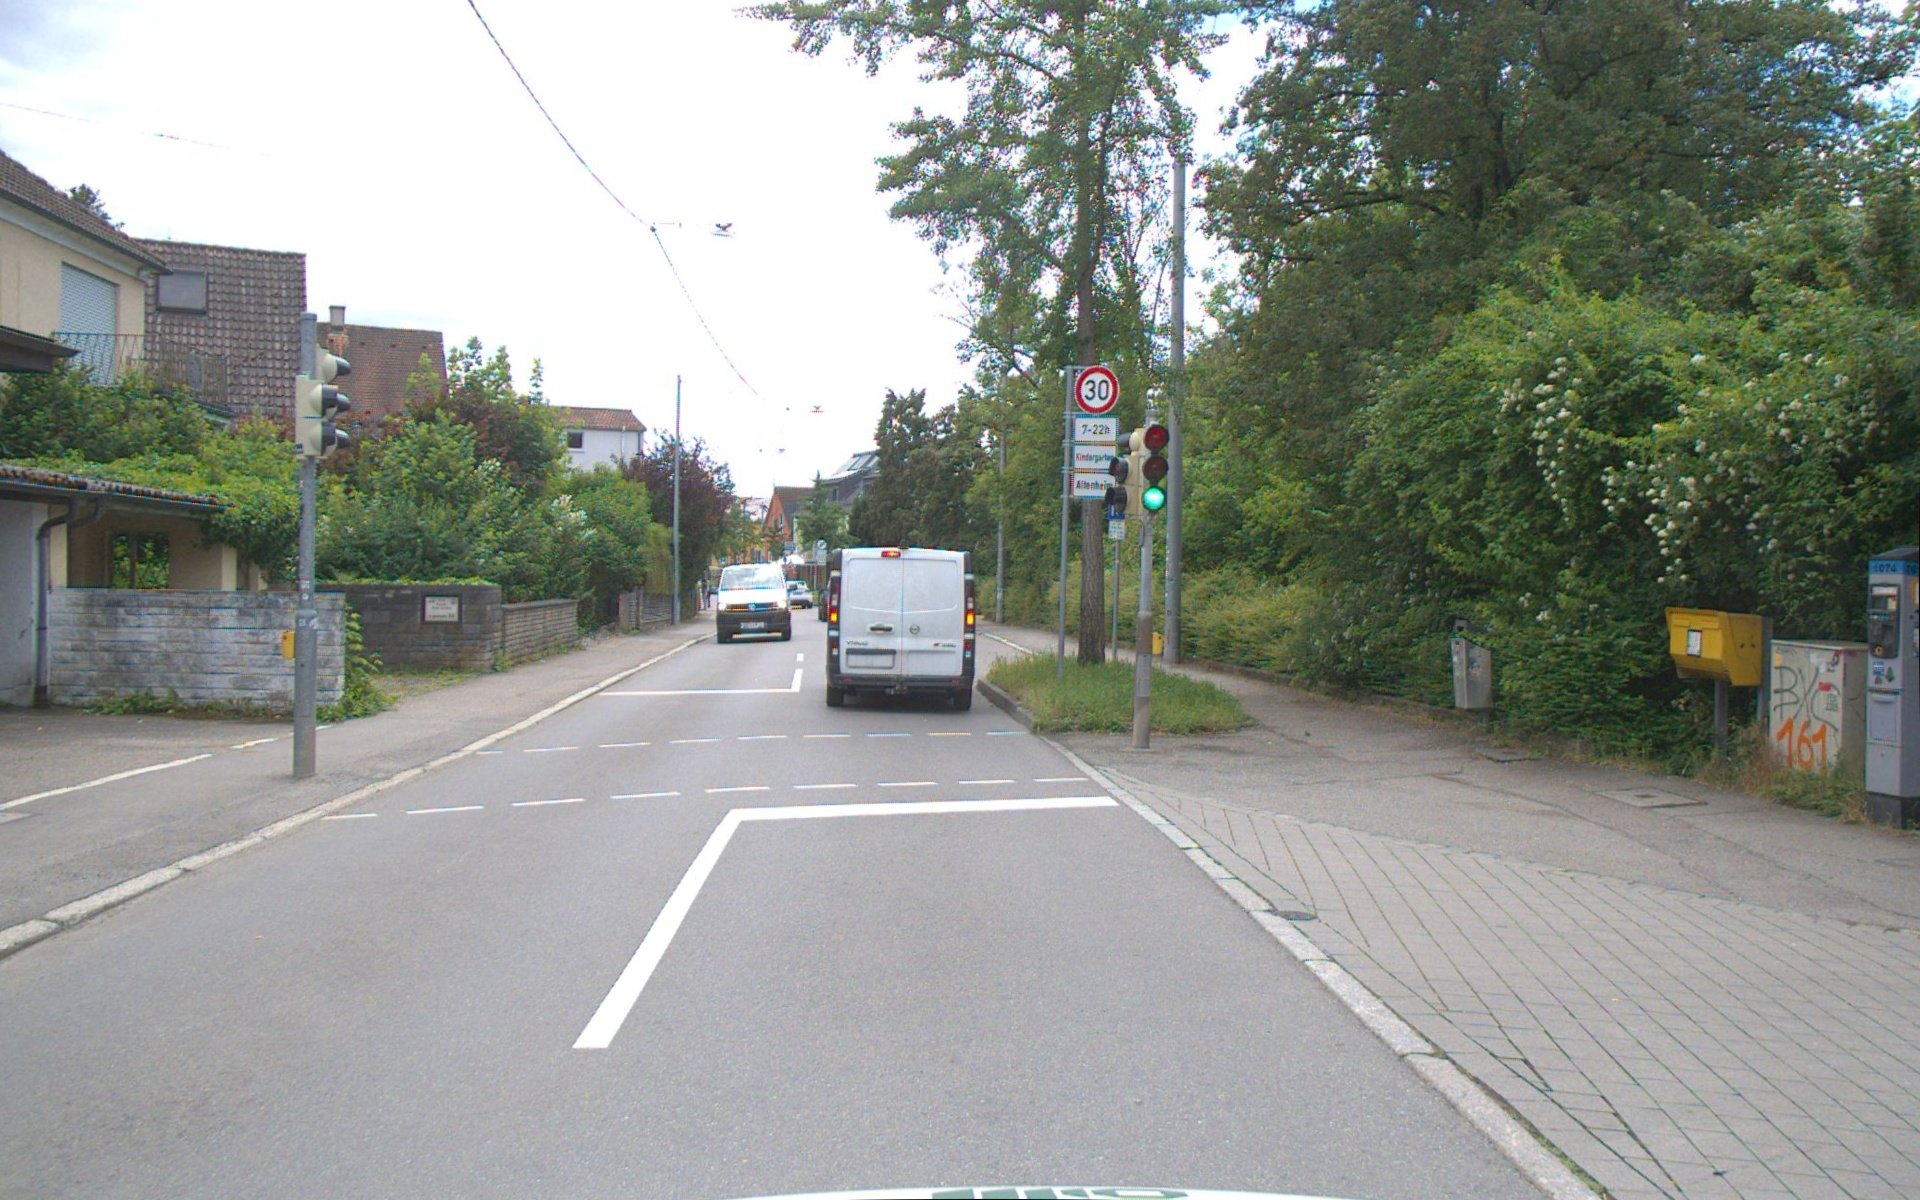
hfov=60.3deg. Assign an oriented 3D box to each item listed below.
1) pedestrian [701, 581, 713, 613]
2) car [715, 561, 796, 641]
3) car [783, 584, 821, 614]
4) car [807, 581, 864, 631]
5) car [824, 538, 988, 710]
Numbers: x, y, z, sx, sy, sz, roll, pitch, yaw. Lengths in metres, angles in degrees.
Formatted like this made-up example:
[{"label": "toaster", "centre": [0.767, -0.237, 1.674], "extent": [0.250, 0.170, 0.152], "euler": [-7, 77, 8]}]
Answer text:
[{"label": "pedestrian", "centre": [-13.886, -0.158, 90.693], "extent": [0.410, 1.744, 0.452], "euler": [1, 0, 38]}, {"label": "car", "centre": [-5.300, -0.015, 43.369], "extent": [1.831, 1.944, 5.111], "euler": [-1, 1, -5]}, {"label": "car", "centre": [-9.554, -0.060, 99.817], "extent": [1.793, 1.758, 3.988], "euler": [1, 0, -12]}, {"label": "car", "centre": [-4.956, 0.236, 66.263], "extent": [1.858, 1.892, 4.404], "euler": [1, 0, 0]}, {"label": "car", "centre": [-0.818, 0.282, 21.825], "extent": [1.892, 1.998, 4.397], "euler": [1, 0, -5]}]
